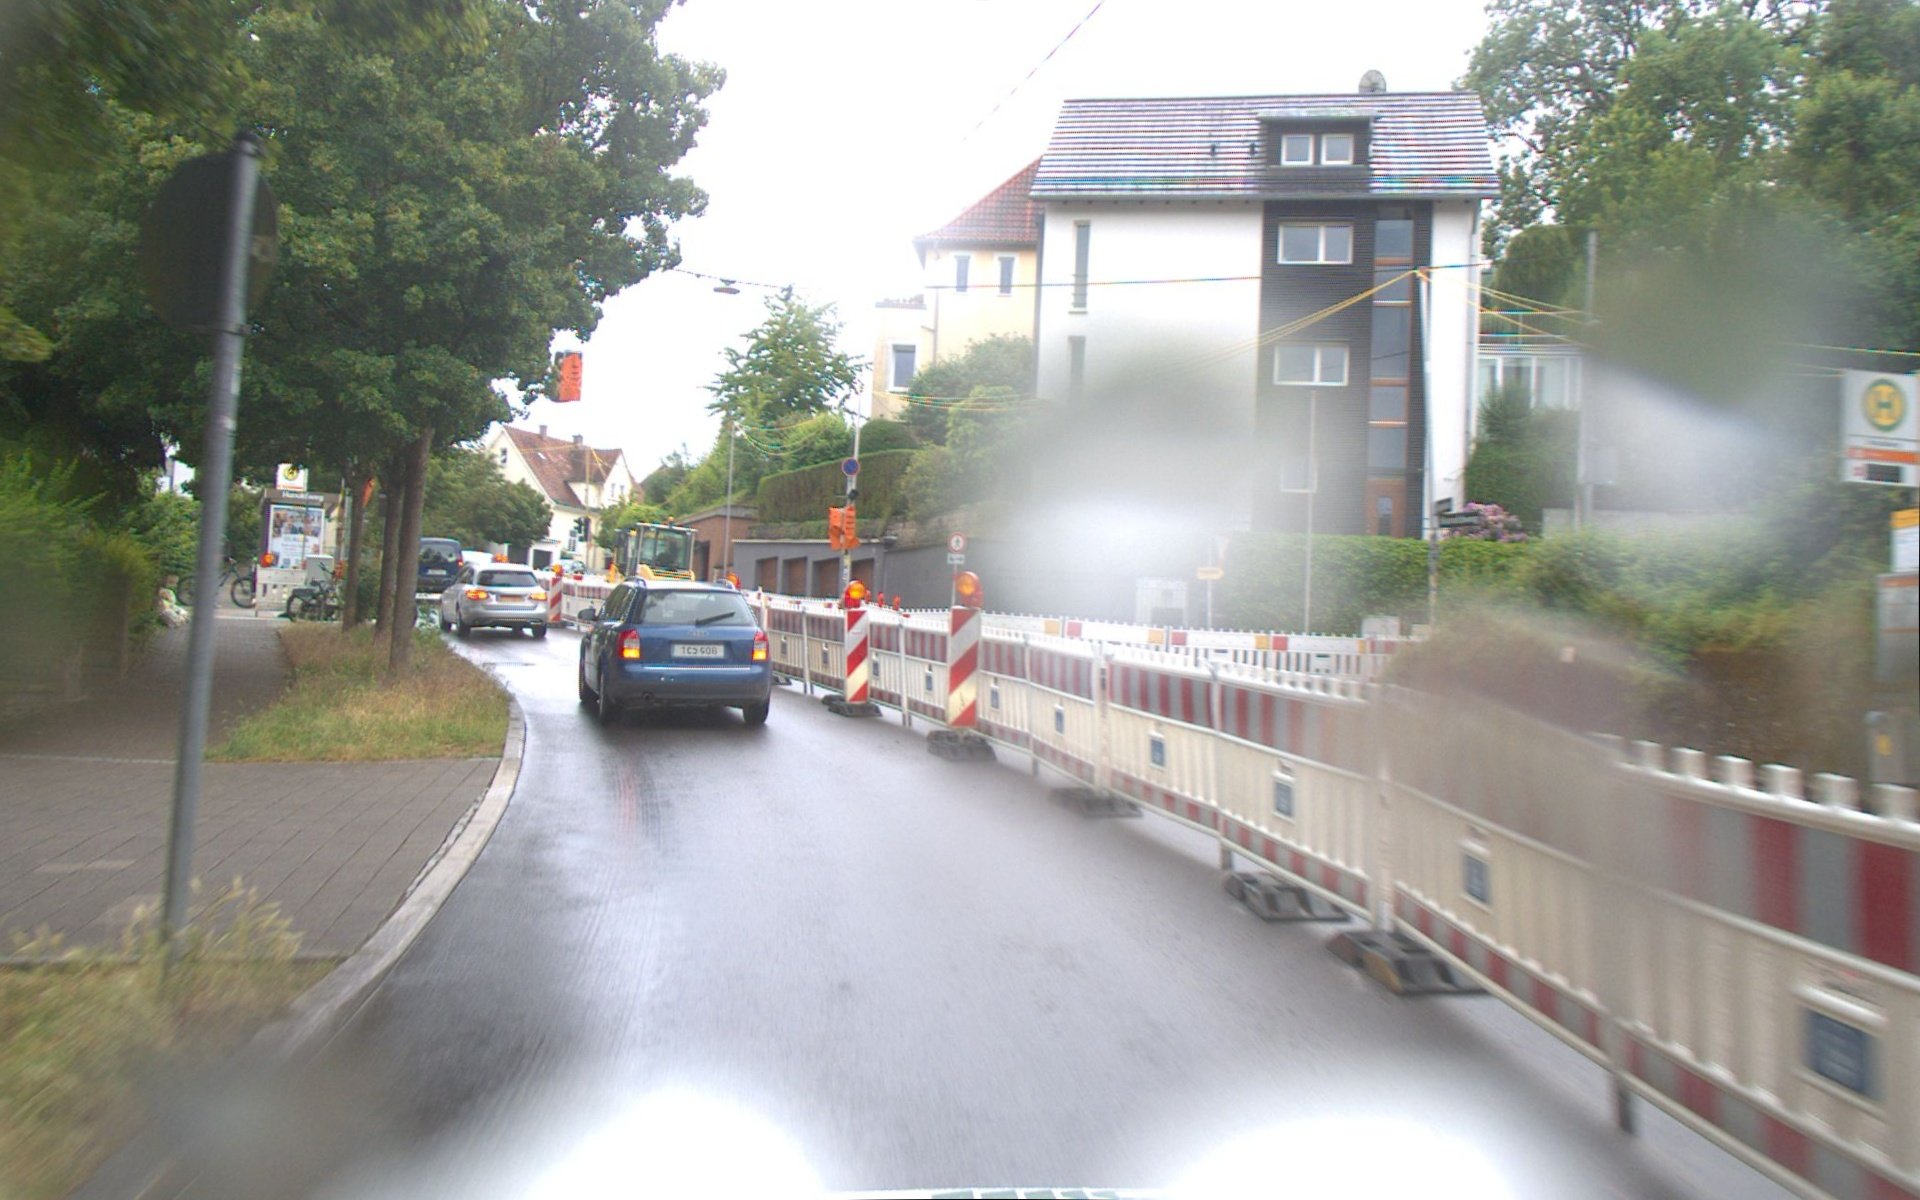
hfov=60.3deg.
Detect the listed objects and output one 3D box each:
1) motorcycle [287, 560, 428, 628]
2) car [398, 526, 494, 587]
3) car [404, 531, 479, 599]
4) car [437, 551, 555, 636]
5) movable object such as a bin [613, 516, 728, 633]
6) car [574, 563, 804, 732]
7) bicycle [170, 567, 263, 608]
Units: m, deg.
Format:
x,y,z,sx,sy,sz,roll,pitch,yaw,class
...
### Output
x,y,z,sx,sy,sz,roll,pitch,yaw,class
-11.967,-0.115,32.873,2.562,1.255,0.884,2,0,-23,motorcycle
-18.288,-1.502,58.759,1.981,2.049,3.944,0,0,-39,car
-15.409,-1.007,49.041,1.964,1.825,3.977,-1,-1,-20,car
-9.765,-0.131,34.600,1.900,1.646,4.291,0,0,-22,car
-7.025,-0.675,39.805,1.965,2.658,3.975,0,3,-22,movable object such as a bin
-3.031,0.429,17.832,1.759,1.467,3.943,4,1,-19,car
-18.572,-0.315,41.355,2.119,1.020,0.631,0,0,-25,bicycle
